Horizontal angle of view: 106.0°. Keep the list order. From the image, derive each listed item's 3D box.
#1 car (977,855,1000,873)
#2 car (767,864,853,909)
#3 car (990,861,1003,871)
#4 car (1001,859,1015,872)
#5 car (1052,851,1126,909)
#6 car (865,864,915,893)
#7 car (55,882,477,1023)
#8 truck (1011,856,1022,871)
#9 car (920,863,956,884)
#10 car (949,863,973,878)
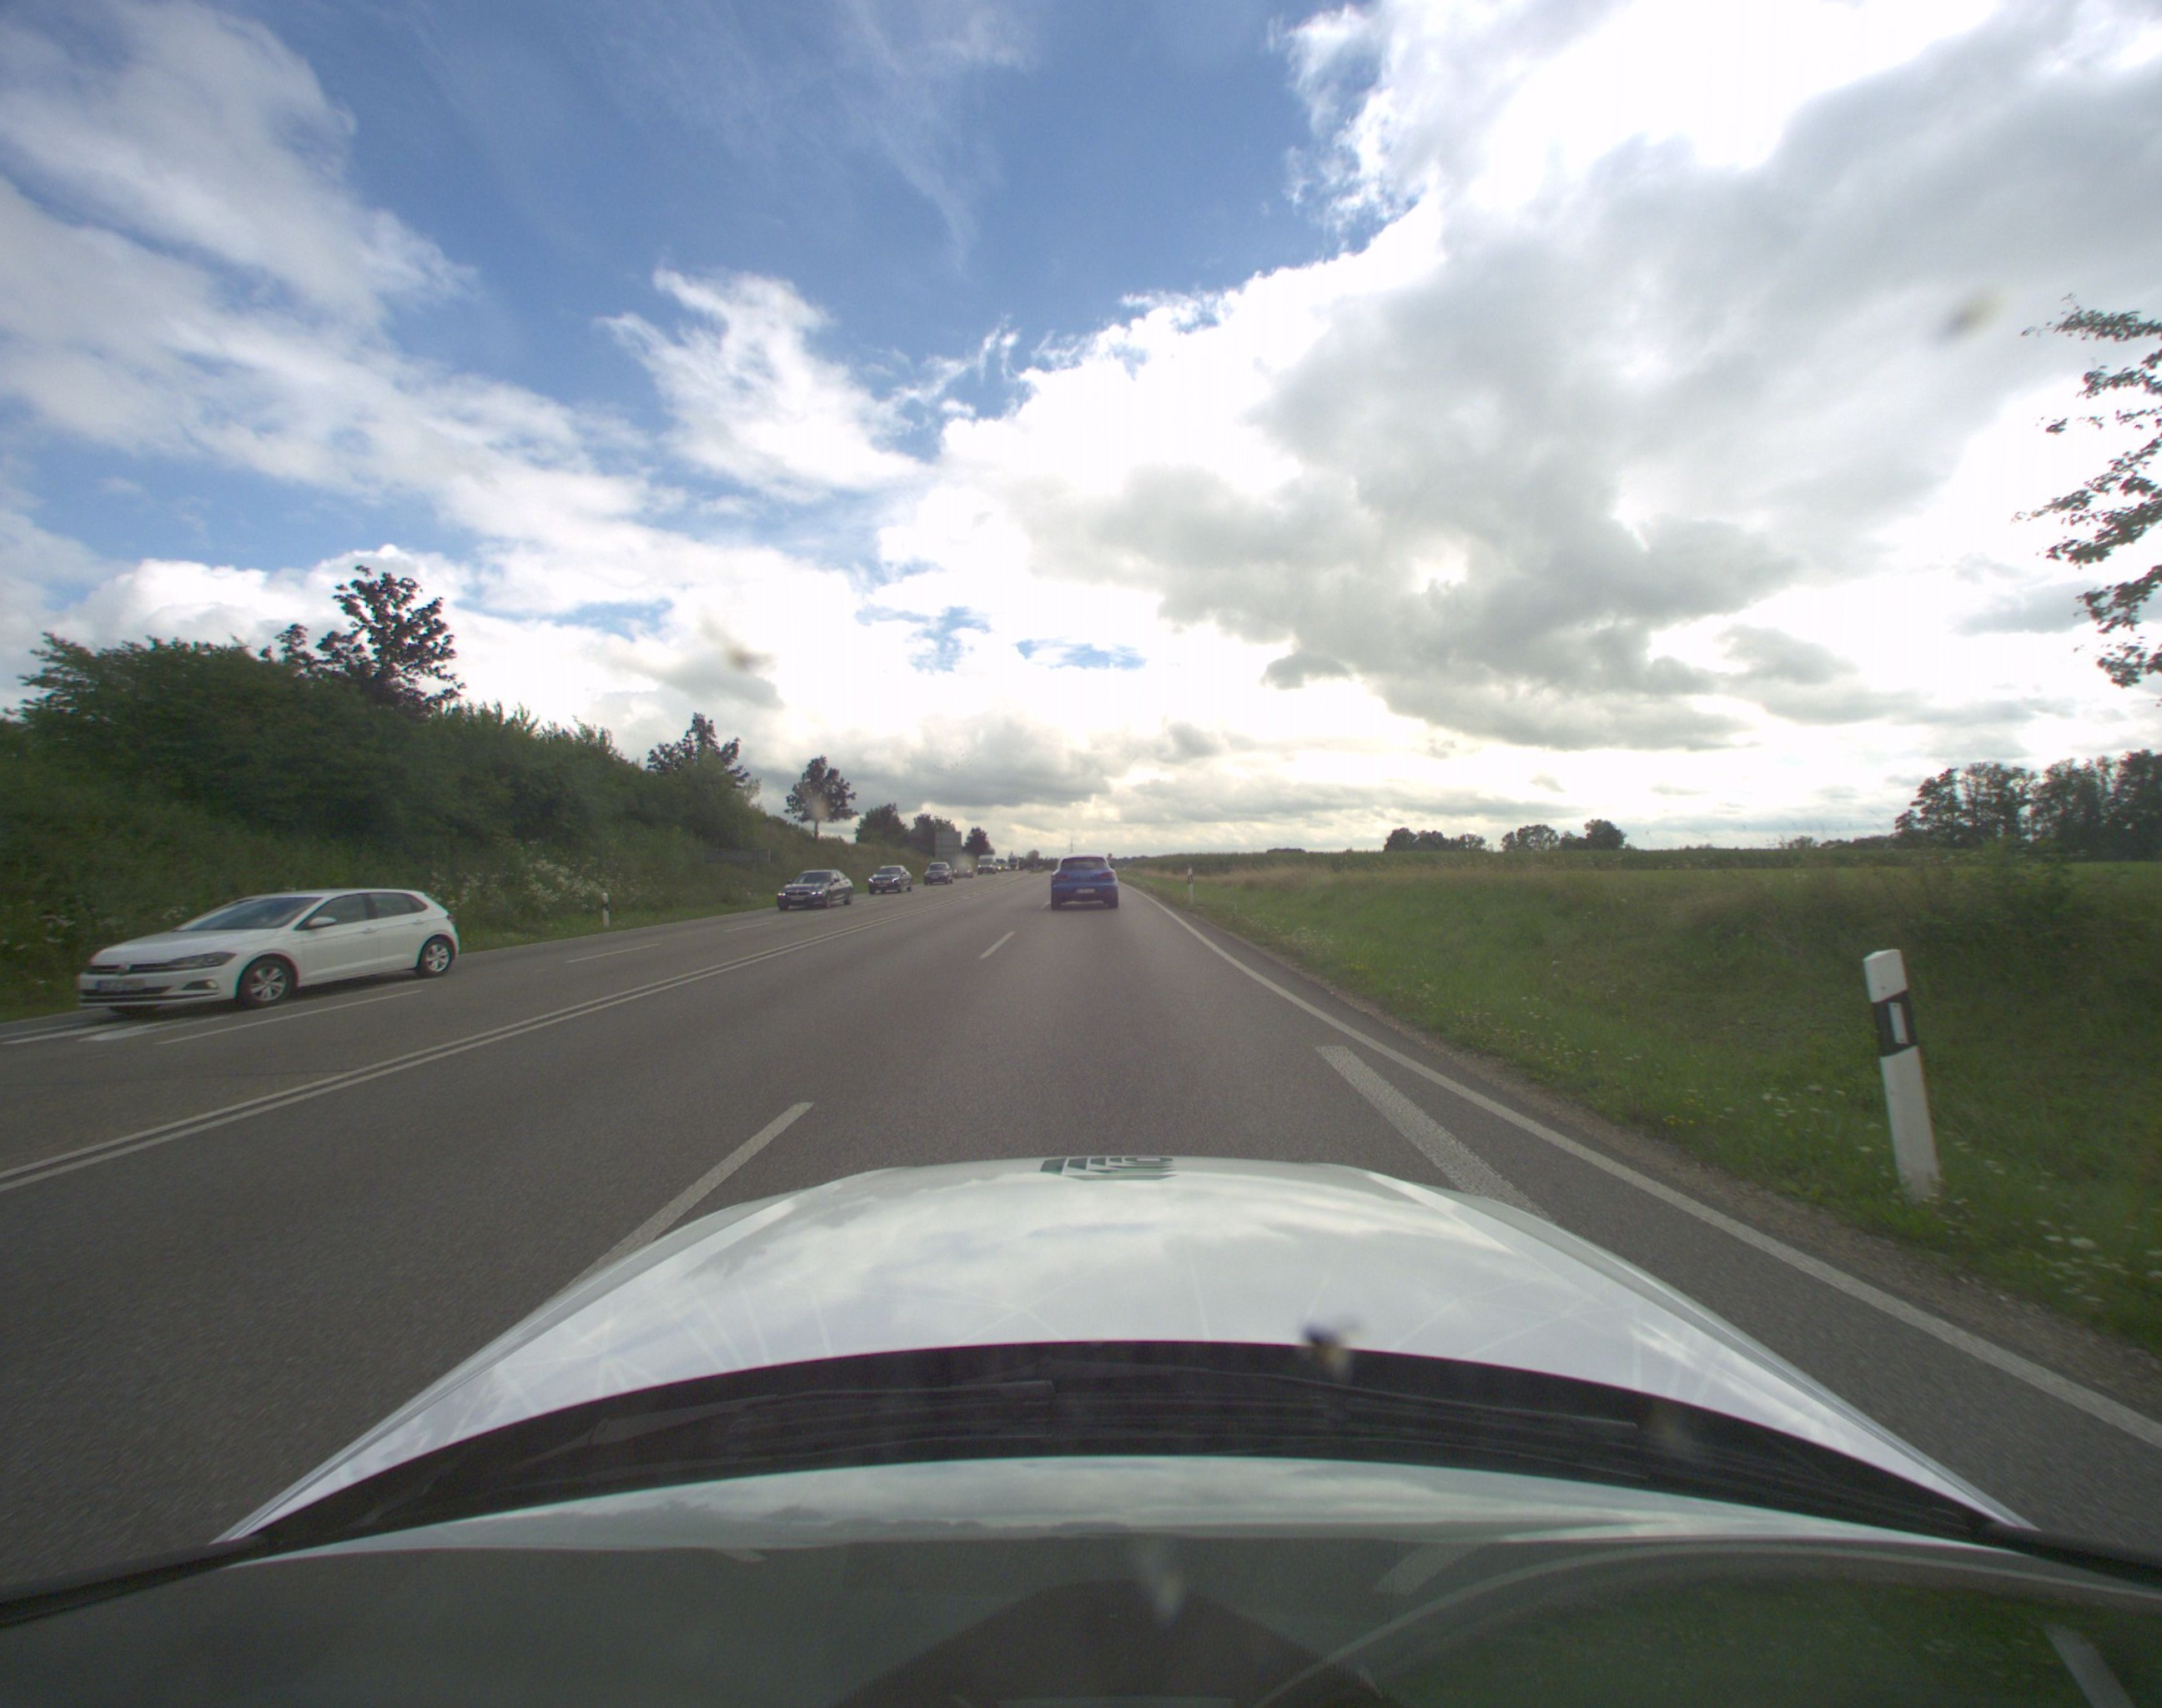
[{"bbox_3d":[-11.948,1.287,105.547,2.357,2.211,5.919,-2,0,-1],"label":"car"},{"bbox_3d":[-10.267,1.190,31.169,1.988,1.508,3.998,-2,-1,-1],"label":"car"},{"bbox_3d":[-13.107,1.831,126.631,1.809,1.488,3.993,-2,0,-5],"label":"car"},{"bbox_3d":[-12.980,1.975,145.146,2.359,2.211,5.299,-2,0,-5],"label":"car"},{"bbox_3d":[0.146,0.735,24.794,1.989,1.570,4.752,-1,-1,-2],"label":"car"},{"bbox_3d":[-10.808,1.352,46.303,1.791,1.486,4.168,-2,0,0],"label":"car"},{"bbox_3d":[-10.828,1.199,11.359,1.662,1.442,4.146,-2,0,1],"label":"car"},{"bbox_3d":[-16.470,2.362,206.810,2.564,3.635,14.636,-2,0,-4],"label":"truck"},{"bbox_3d":[-10.933,1.454,62.528,1.987,1.508,3.999,-2,-1,0],"label":"car"},{"bbox_3d":[-12.357,1.673,83.882,1.988,1.491,3.997,-2,0,-2],"label":"car"}]
